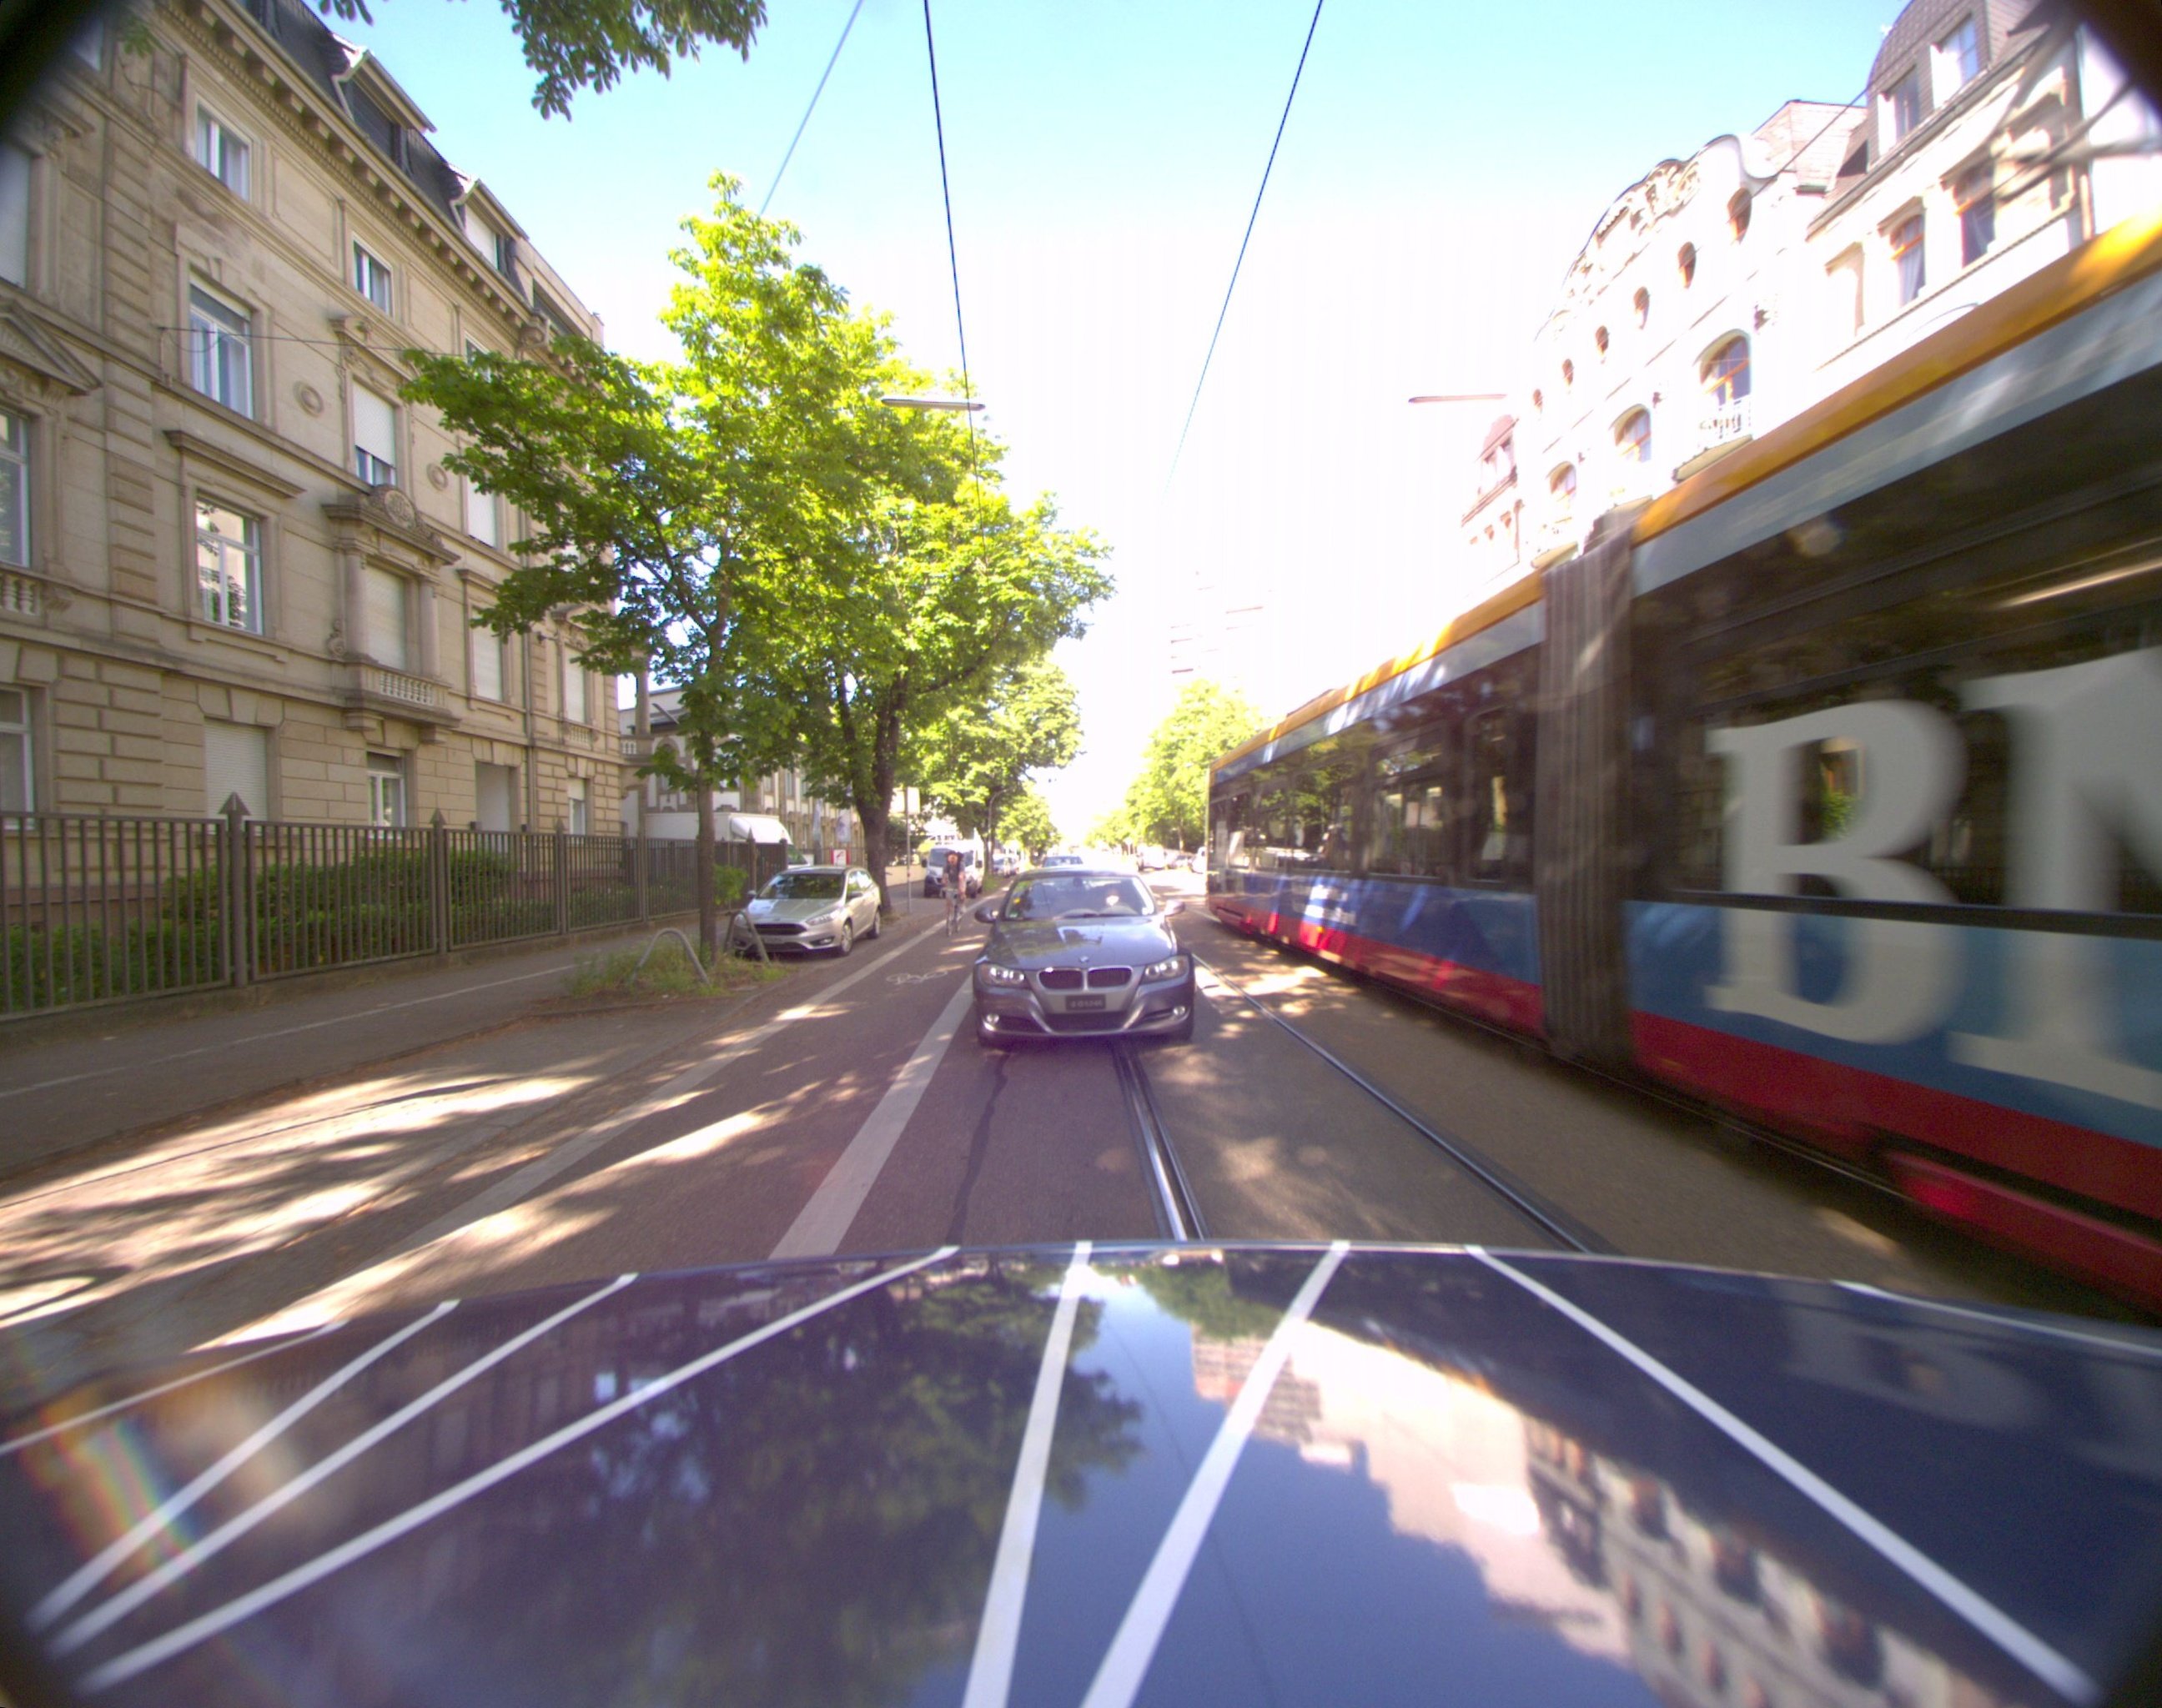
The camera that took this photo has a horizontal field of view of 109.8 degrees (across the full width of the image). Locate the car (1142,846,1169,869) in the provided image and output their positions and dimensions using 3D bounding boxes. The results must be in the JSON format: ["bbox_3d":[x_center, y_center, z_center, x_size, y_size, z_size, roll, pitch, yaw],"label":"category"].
[{"bbox_3d":[6.627,0.287,67.352,1.997,1.893,4.002,-2,1,10],"label":"car"}]

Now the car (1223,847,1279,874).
[{"bbox_3d":[9.954,0.357,44.555,2.757,1.427,1.458,-3,1,-16],"label":"car"}]

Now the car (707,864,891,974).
[{"bbox_3d":[-4.819,1.015,13.719,1.877,1.534,4.364,0,1,-3],"label":"car"}]

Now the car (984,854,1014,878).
[{"bbox_3d":[-5.898,0.859,55.134,1.866,1.541,4.100,-2,1,-3],"label":"car"}]

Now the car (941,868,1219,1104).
[{"bbox_3d":[0.012,0.958,7.263,1.870,1.426,3.999,-2,1,0],"label":"car"}]

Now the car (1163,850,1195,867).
[{"bbox_3d":[9.203,0.419,71.427,2.757,1.417,1.226,-3,1,-16],"label":"car"}]

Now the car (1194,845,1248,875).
[{"bbox_3d":[9.555,0.368,51.647,3.449,1.860,1.918,-3,2,-45],"label":"car"}]

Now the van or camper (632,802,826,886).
[{"bbox_3d":[-12.356,-0.289,26.581,6.721,2.612,2.126,-2,1,24],"label":"van or camper"}]

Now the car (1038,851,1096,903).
[{"bbox_3d":[-0.454,0.730,26.710,1.828,1.559,3.999,-2,1,0],"label":"car"}]

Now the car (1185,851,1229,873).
[{"bbox_3d":[9.107,0.575,55.074,2.757,1.427,1.458,-3,1,-16],"label":"car"}]

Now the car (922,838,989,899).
[{"bbox_3d":[-5.203,0.517,32.223,2.132,2.329,5.803,0,1,-3],"label":"car"}]

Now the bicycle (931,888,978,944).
[{"bbox_3d":[-2.566,1.239,15.580,0.535,0.917,2.056,-2,1,1],"label":"bicycle"}]

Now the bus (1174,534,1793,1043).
[{"bbox_3d":[3.806,-0.588,11.508,2.867,3.755,11.493,-2,1,-2],"label":"bus"}]

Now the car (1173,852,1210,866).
[{"bbox_3d":[9.344,0.414,64.227,2.757,1.083,1.226,-3,1,-16],"label":"car"}]

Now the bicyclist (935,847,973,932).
[{"bbox_3d":[-2.583,0.701,15.507,0.532,1.660,0.878,-2,1,1],"label":"bicyclist"}]
